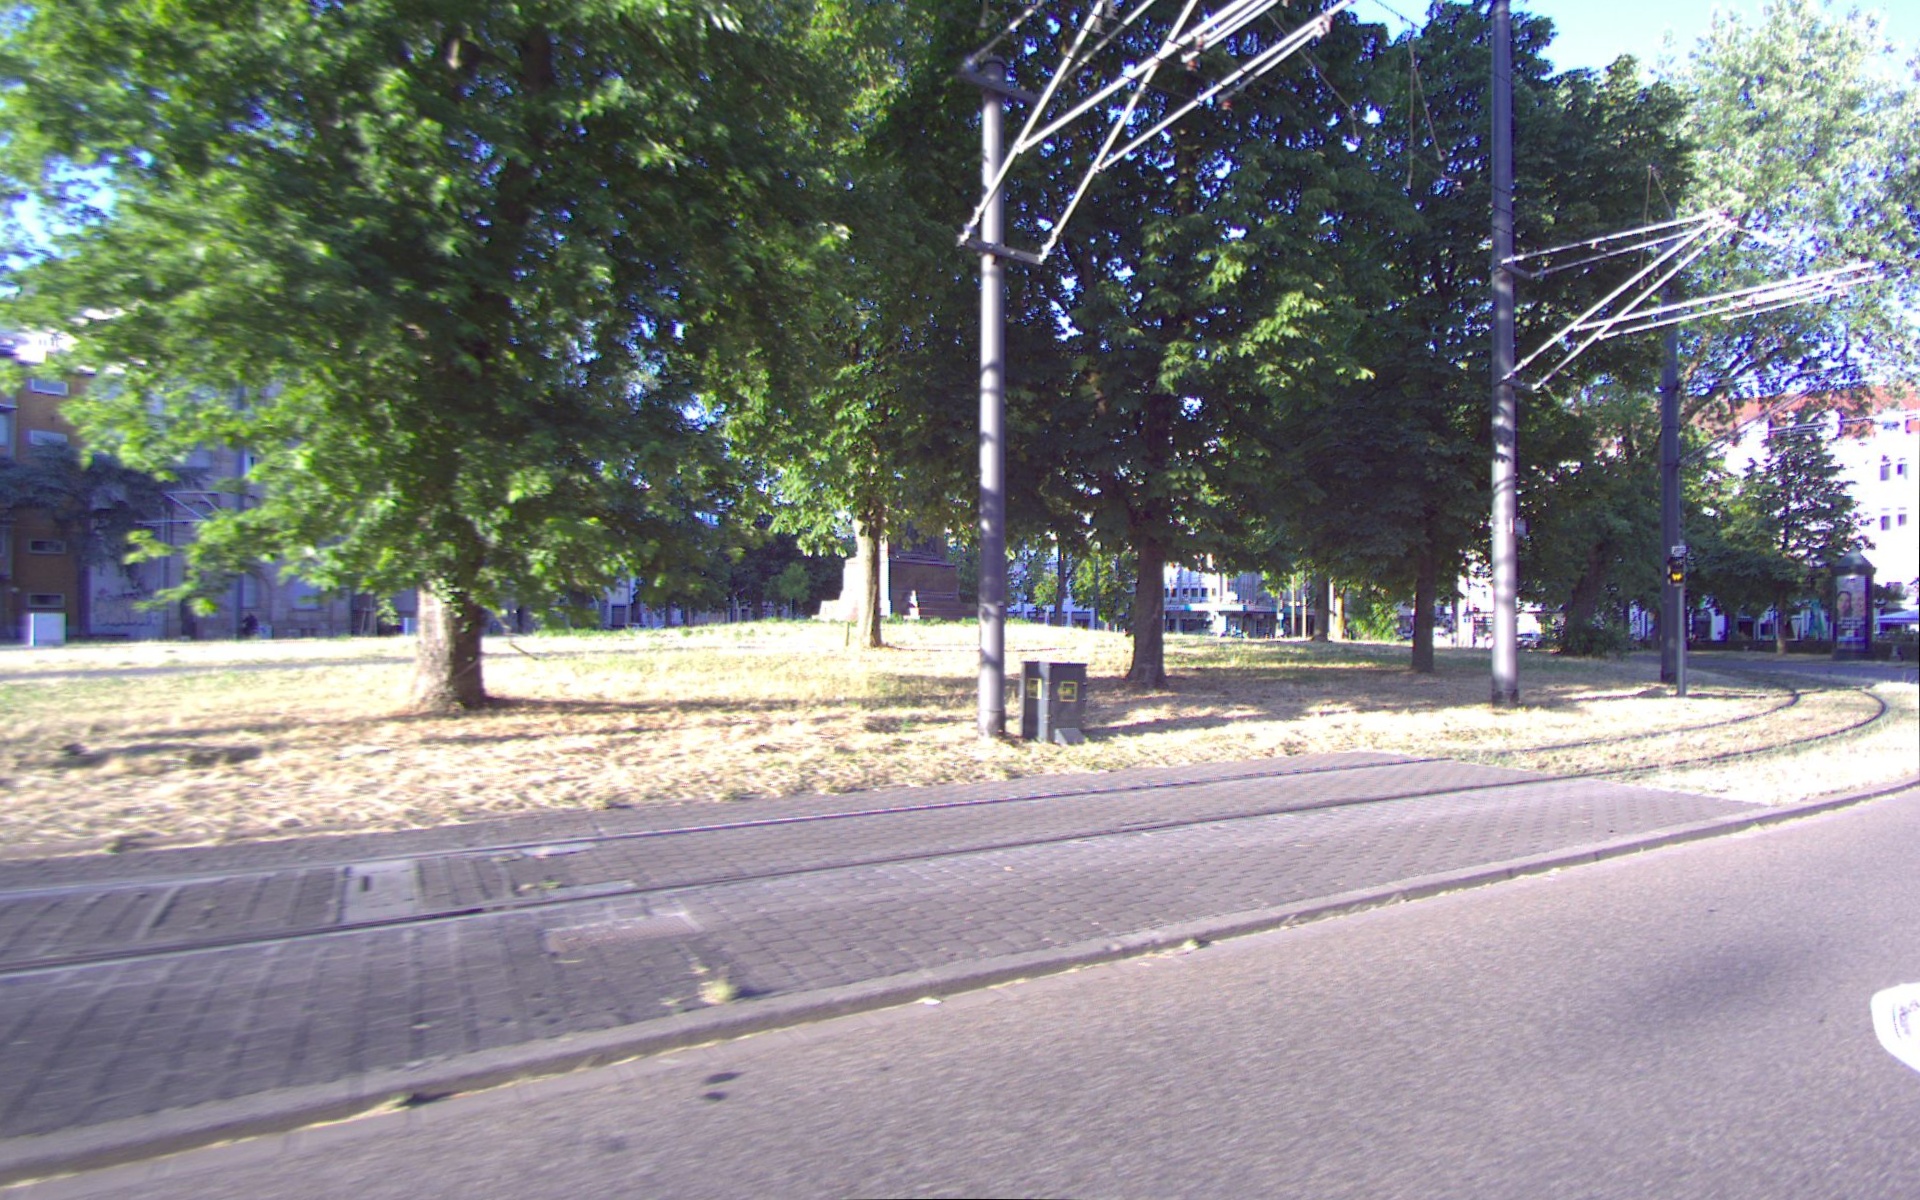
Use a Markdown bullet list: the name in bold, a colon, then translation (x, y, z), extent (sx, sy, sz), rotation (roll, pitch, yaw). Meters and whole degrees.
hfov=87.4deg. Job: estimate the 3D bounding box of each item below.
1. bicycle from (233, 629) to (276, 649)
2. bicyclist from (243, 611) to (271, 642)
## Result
- **bicycle**: translation (-39.795, 2.182, 56.670), extent (0.463, 1.024, 2.202), rotation (1, 0, 13)
- **bicyclist**: translation (-39.757, 1.501, 56.809), extent (0.934, 1.713, 0.898), rotation (1, 0, 14)
